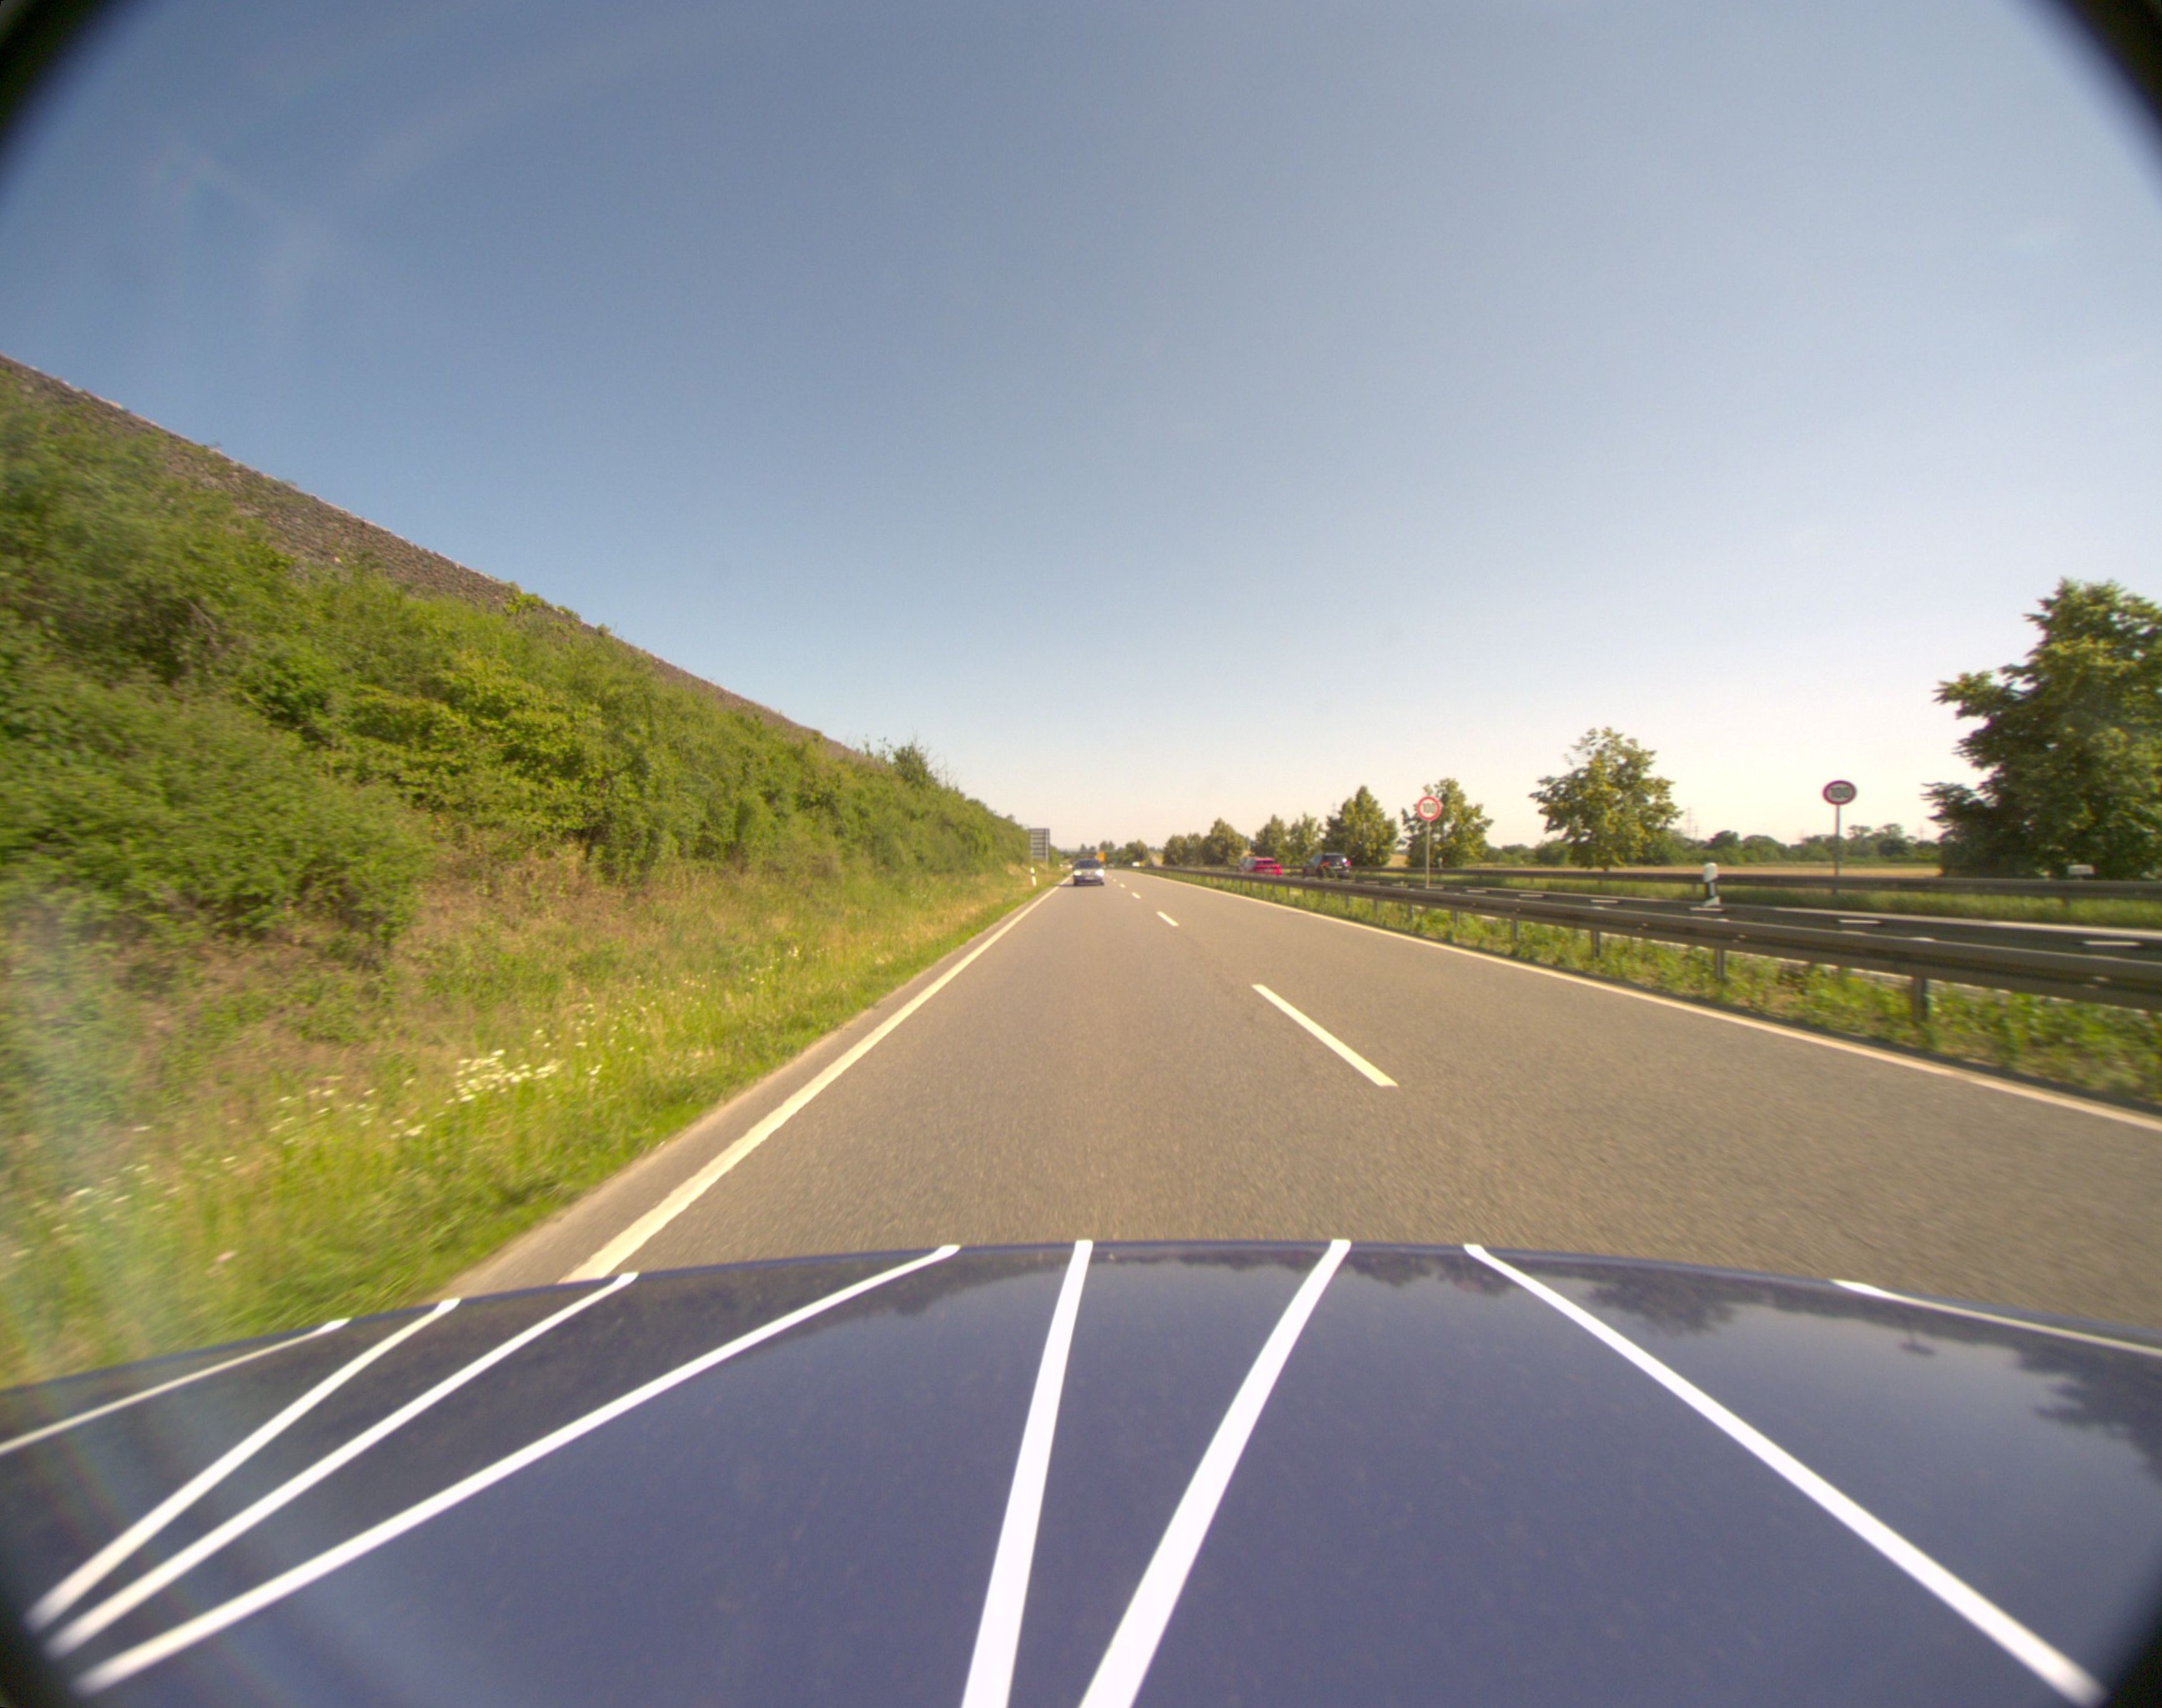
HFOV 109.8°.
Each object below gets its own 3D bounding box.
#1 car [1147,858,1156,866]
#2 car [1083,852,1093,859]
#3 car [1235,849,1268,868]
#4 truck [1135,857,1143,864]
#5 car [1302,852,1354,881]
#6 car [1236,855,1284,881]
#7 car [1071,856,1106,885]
[{"bbox_3d":[15.242,1.724,164.503,1.817,1.532,4.454,-1,0,2],"label":"car"},{"bbox_3d":[1.323,0.265,139.069,1.790,1.212,4.000,-1,1,1],"label":"car"},{"bbox_3d":[15.198,0.386,68.012,1.848,1.584,4.773,-2,0,1],"label":"car"},{"bbox_3d":[15.860,1.784,207.354,1.927,1.829,5.293,-2,-1,0],"label":"truck"},{"bbox_3d":[14.586,0.719,45.115,1.730,1.586,4.221,-2,0,1],"label":"car"},{"bbox_3d":[11.331,0.857,48.351,1.881,1.484,5.095,-1,0,1],"label":"car"},{"bbox_3d":[0.483,0.958,45.167,1.854,1.634,4.001,-1,0,4],"label":"car"}]
